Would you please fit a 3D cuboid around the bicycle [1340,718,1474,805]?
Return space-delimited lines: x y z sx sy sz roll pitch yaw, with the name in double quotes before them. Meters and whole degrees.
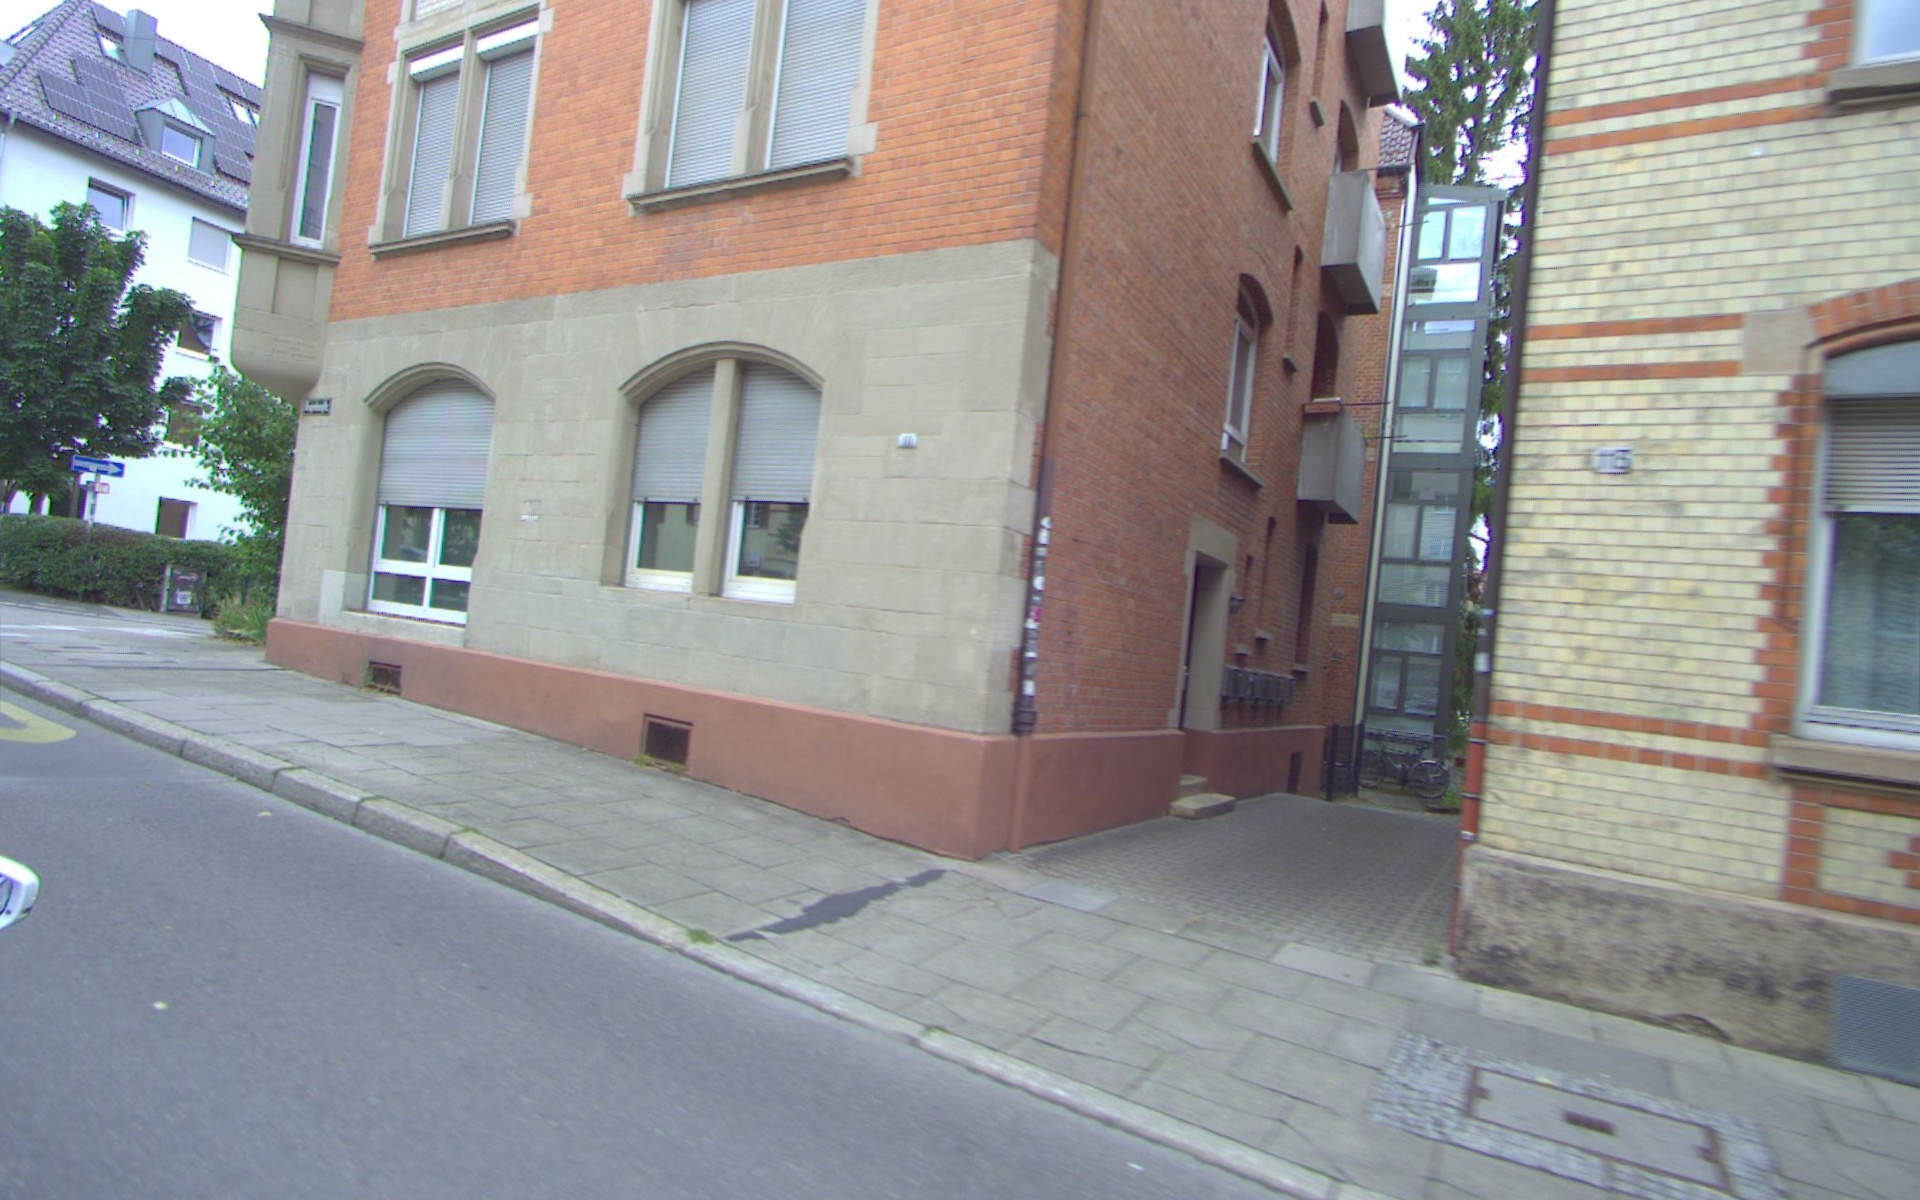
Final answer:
"bicycle" 8.665 3.105 19.546 2.178 1.274 0.669 7 -1 32
